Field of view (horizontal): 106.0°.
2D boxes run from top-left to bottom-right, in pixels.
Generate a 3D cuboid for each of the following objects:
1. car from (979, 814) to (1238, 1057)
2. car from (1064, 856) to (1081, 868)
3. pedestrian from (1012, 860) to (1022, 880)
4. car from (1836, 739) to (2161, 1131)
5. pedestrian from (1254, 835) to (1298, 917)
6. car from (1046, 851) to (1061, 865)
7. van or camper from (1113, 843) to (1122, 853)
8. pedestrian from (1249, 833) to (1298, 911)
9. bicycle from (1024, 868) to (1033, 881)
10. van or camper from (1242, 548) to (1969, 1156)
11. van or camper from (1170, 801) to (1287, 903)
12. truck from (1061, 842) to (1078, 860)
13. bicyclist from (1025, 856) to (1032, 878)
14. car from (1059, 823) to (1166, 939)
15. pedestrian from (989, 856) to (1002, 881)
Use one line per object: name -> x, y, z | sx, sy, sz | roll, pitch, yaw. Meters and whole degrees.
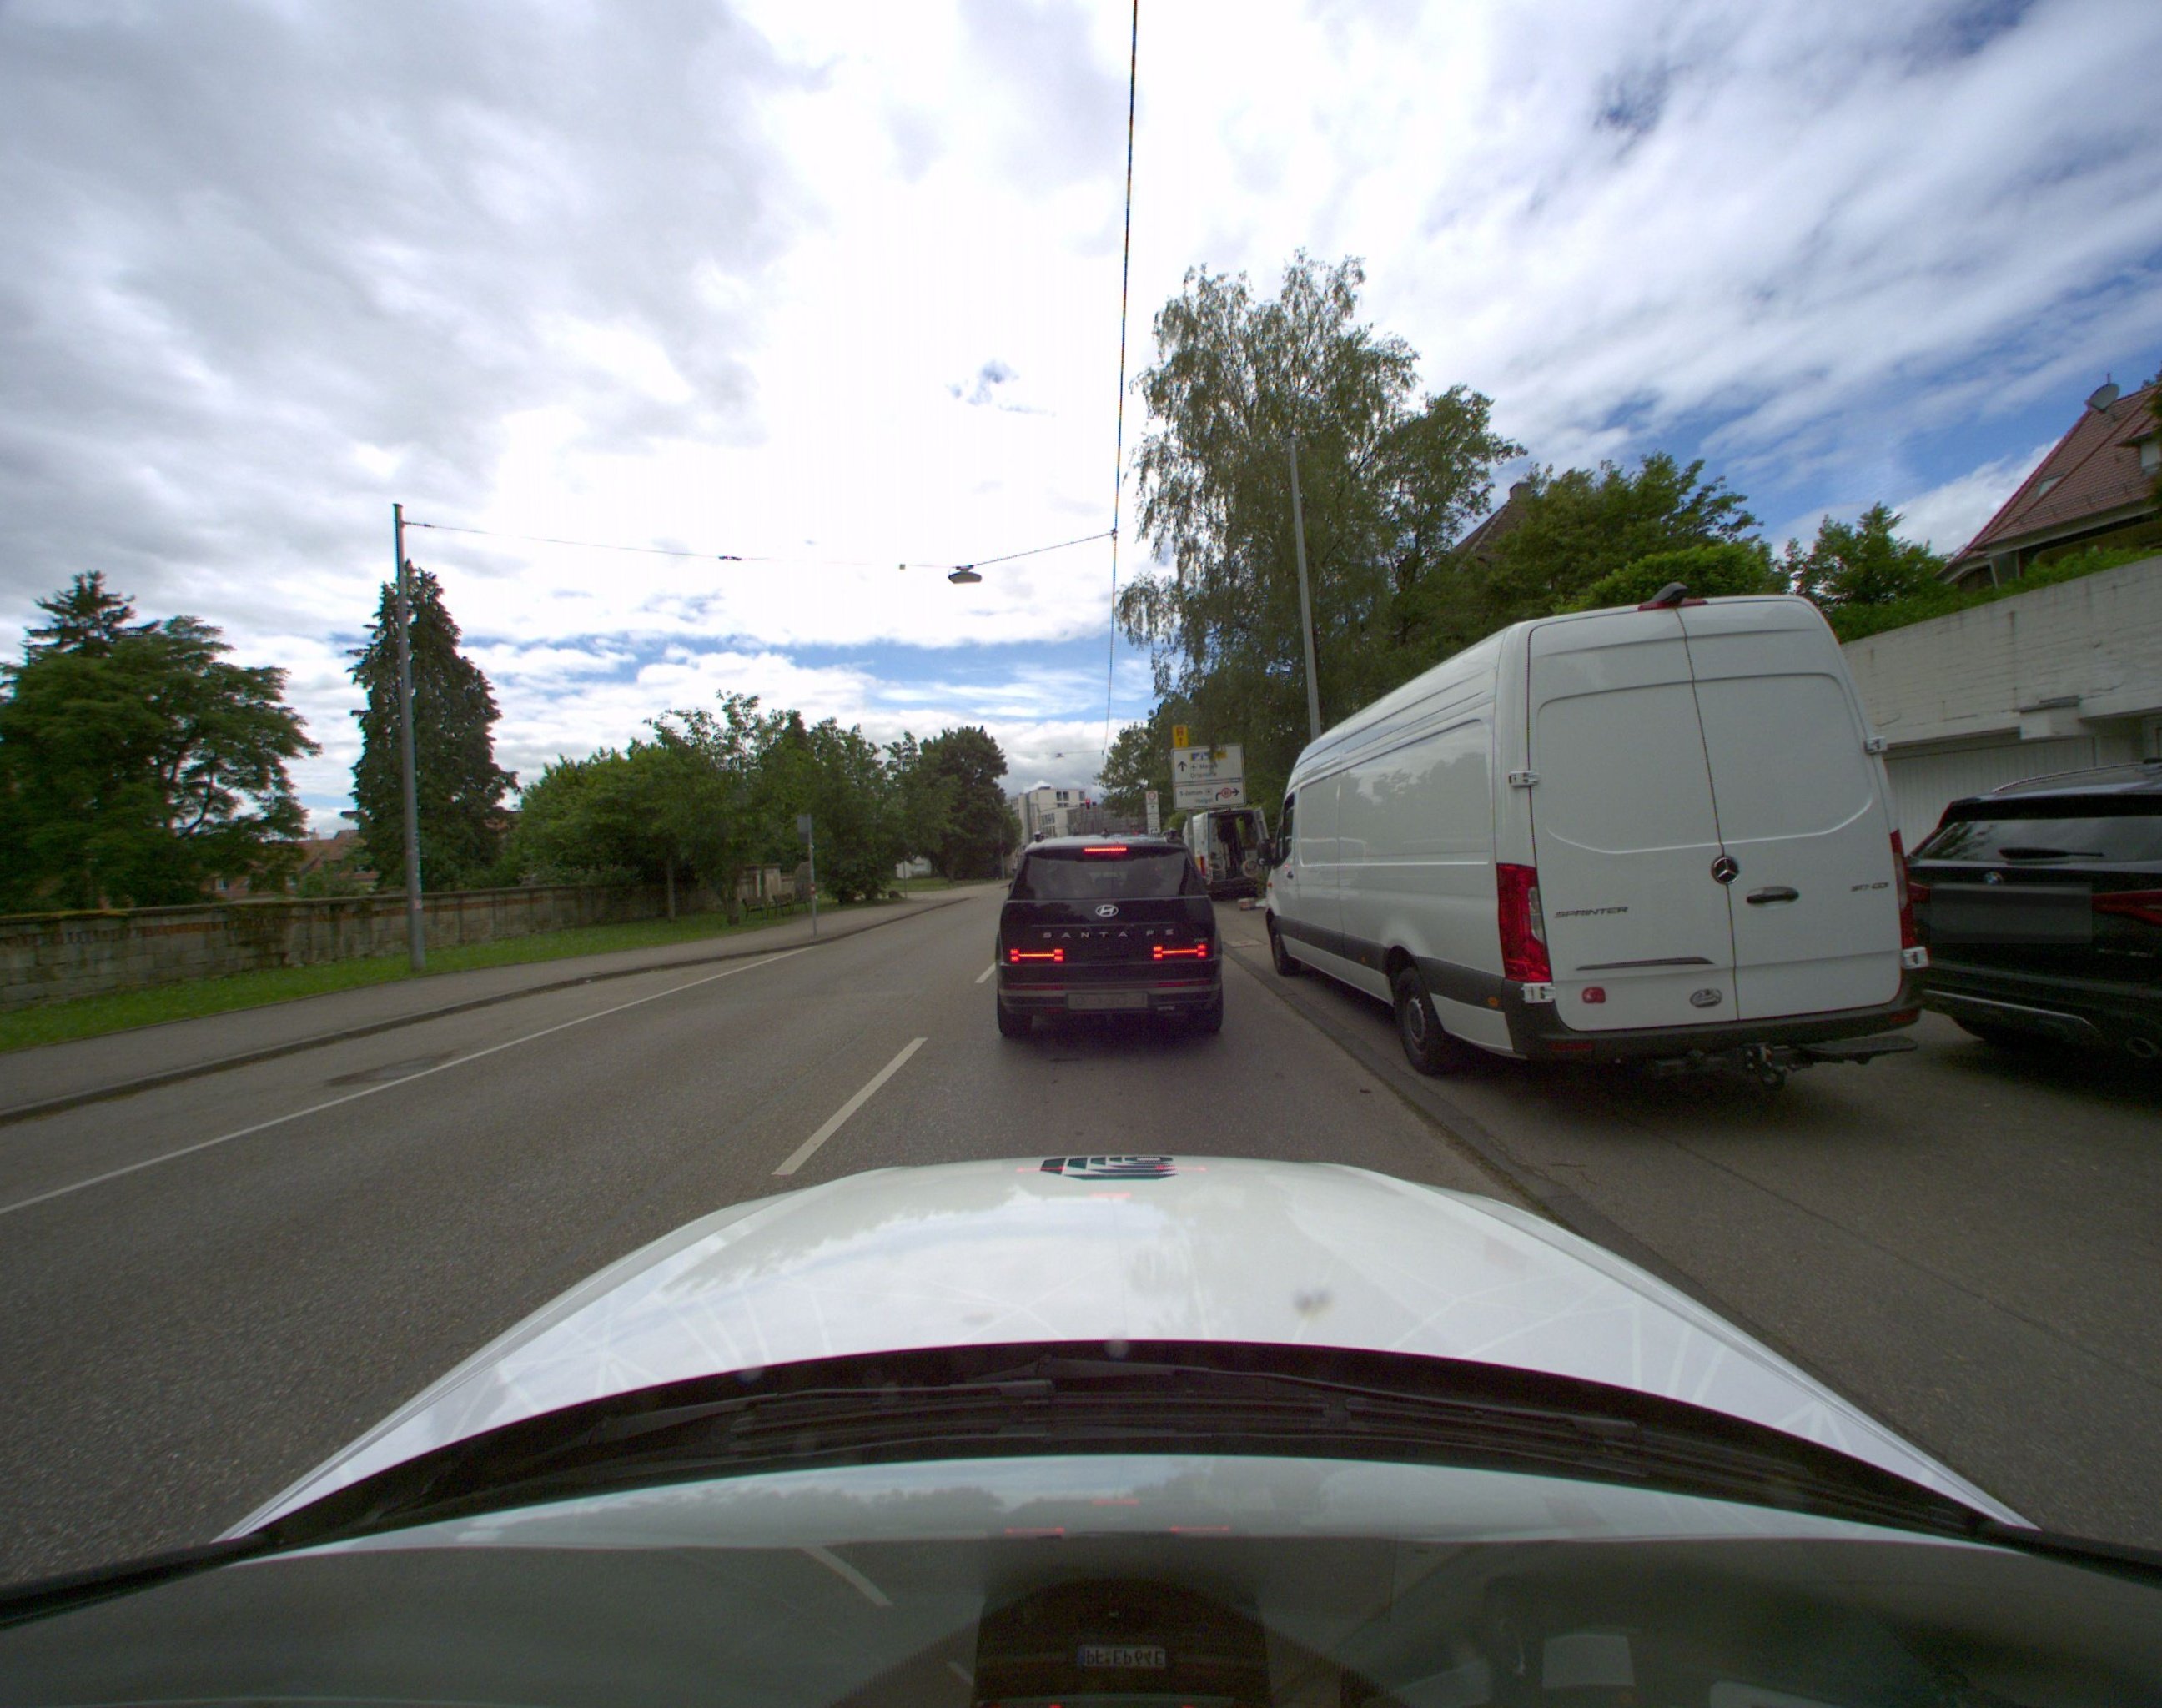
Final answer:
car -> 0.266, 0.615, 7.979 | 1.890, 1.776, 3.995 | 0, -1, 2
car -> -1.045, 0.988, 102.057 | 1.750, 1.403, 4.416 | -5, -1, 2
pedestrian -> -5.535, 1.363, 70.420 | 0.764, 1.748, 0.904 | -2, -1, 1
car -> 6.793, 0.211, 4.043 | 4.365, 1.675, 1.696 | -4, -1, 2
pedestrian -> 4.132, 0.458, 17.301 | 0.732, 1.643, 0.803 | -4, -1, 8
car -> -4.948, 0.686, 144.399 | 2.328, 2.315, 4.950 | -3, 0, -4
van or camper -> 7.741, -1.200, 172.577 | 1.791, 1.999, 3.821 | 0, -1, -2
pedestrian -> 4.383, 0.405, 18.566 | 0.754, 1.721, 0.785 | 0, -1, -27
bicycle -> -3.974, 1.568, 62.106 | 0.493, 0.964, 1.749 | 0, -1, 2
van or camper -> 3.066, 0.014, 7.047 | 1.984, 2.625, 6.546 | -6, -1, 2
van or camper -> 4.348, 0.014, 25.305 | 2.332, 2.494, 6.603 | -6, -1, 1
truck -> -2.674, -0.573, 187.510 | 3.101, 3.859, 9.607 | -3, 0, -4
bicyclist -> -3.978, 0.978, 62.172 | 0.486, 1.684, 0.588 | 0, -1, 1
car -> 0.620, 0.492, 16.448 | 1.890, 2.042, 3.995 | 0, -1, 2
pedestrian -> -6.744, 1.137, 64.269 | 0.826, 2.014, 1.048 | 0, -1, 4
